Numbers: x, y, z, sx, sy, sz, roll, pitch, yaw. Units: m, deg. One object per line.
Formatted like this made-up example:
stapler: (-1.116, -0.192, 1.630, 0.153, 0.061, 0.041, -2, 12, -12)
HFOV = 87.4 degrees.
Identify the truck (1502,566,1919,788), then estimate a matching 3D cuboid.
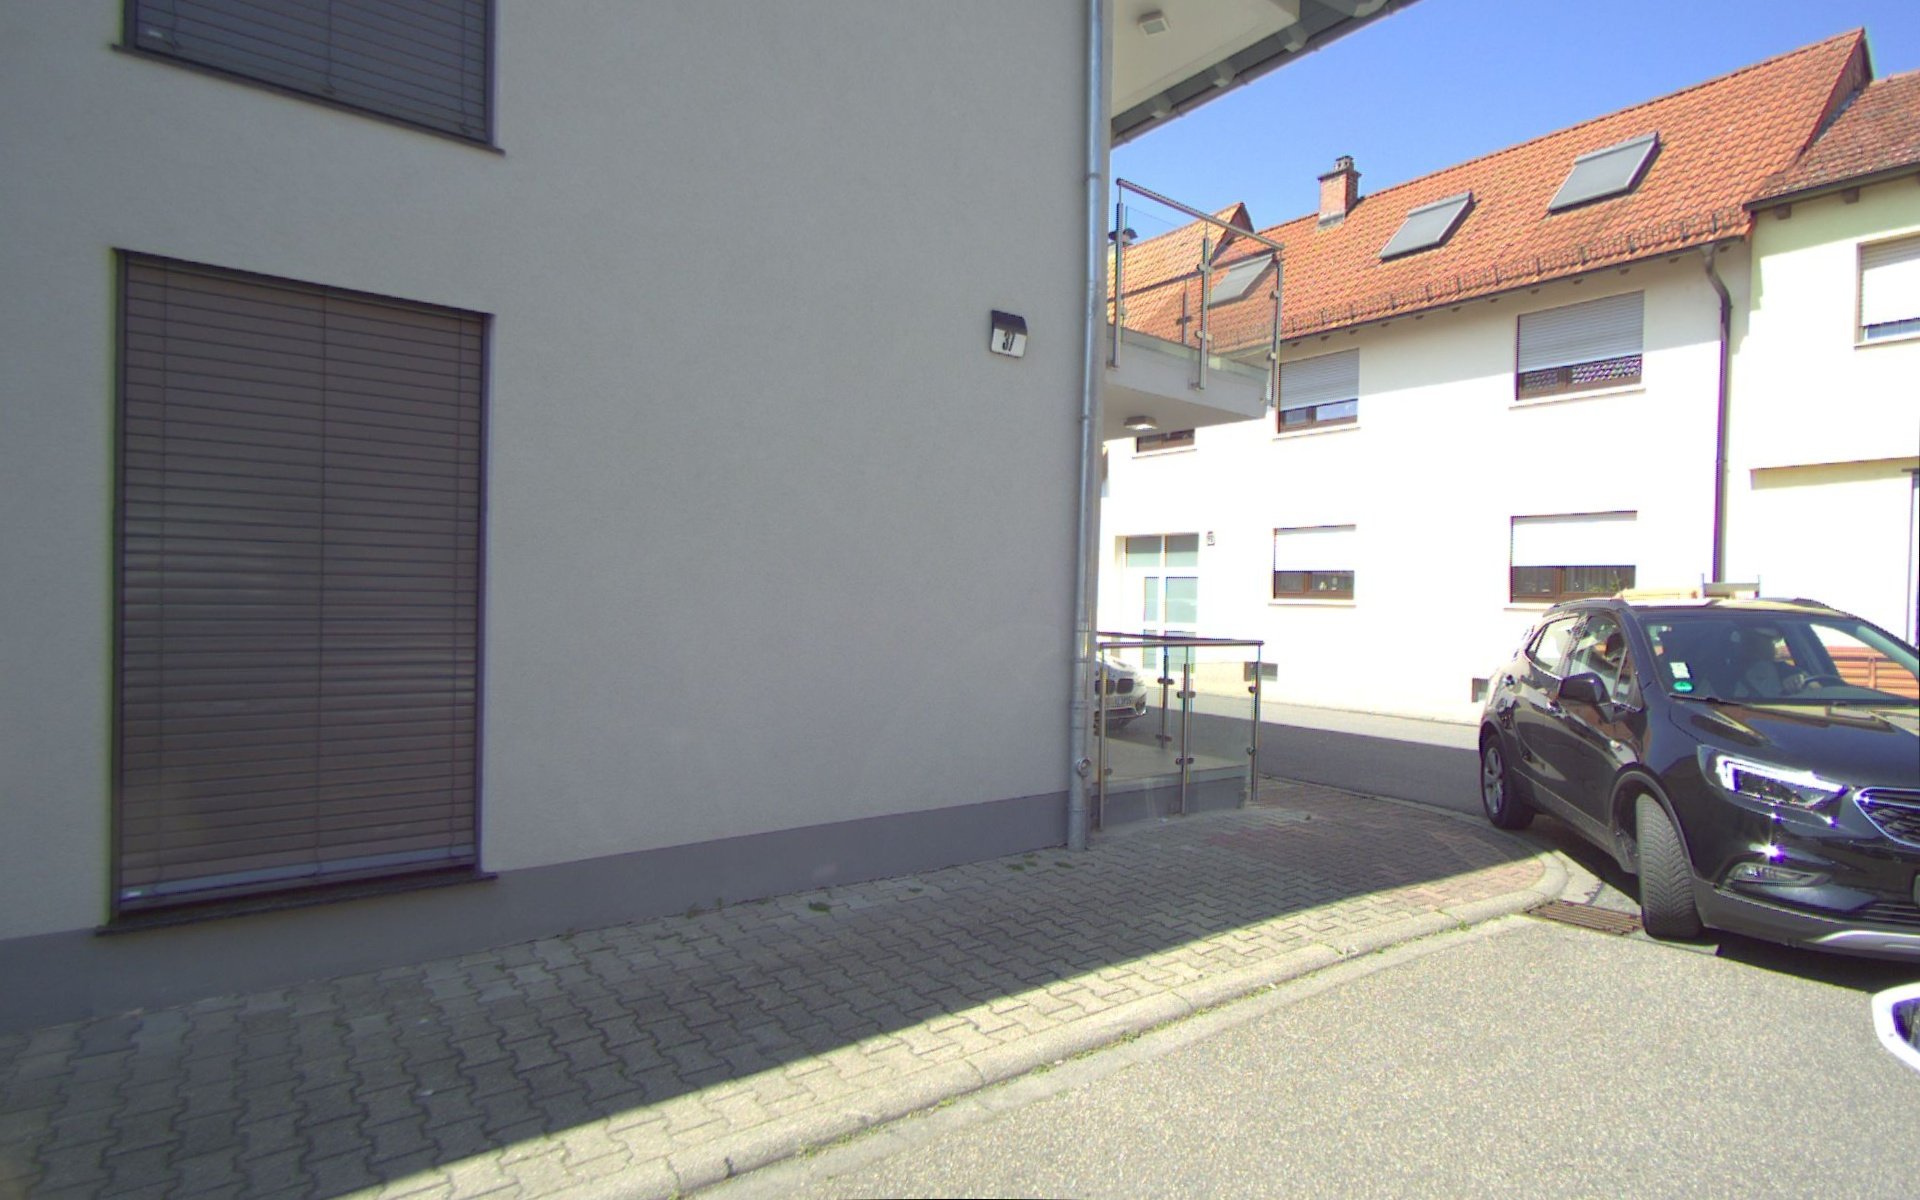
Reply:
truck: (9.008, 0.705, 10.917, 2.168, 2.040, 5.028, 2, 0, -36)

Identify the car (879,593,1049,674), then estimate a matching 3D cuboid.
car: (0.003, 0.705, 22.948, 1.834, 1.635, 3.957, 2, 0, -37)

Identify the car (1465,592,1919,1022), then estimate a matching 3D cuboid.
car: (4.387, 0.796, 5.765, 1.727, 1.604, 4.283, 0, 0, 14)

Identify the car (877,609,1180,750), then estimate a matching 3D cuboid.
car: (0.748, 0.885, 12.939, 1.627, 1.387, 3.879, -1, 2, -42)
